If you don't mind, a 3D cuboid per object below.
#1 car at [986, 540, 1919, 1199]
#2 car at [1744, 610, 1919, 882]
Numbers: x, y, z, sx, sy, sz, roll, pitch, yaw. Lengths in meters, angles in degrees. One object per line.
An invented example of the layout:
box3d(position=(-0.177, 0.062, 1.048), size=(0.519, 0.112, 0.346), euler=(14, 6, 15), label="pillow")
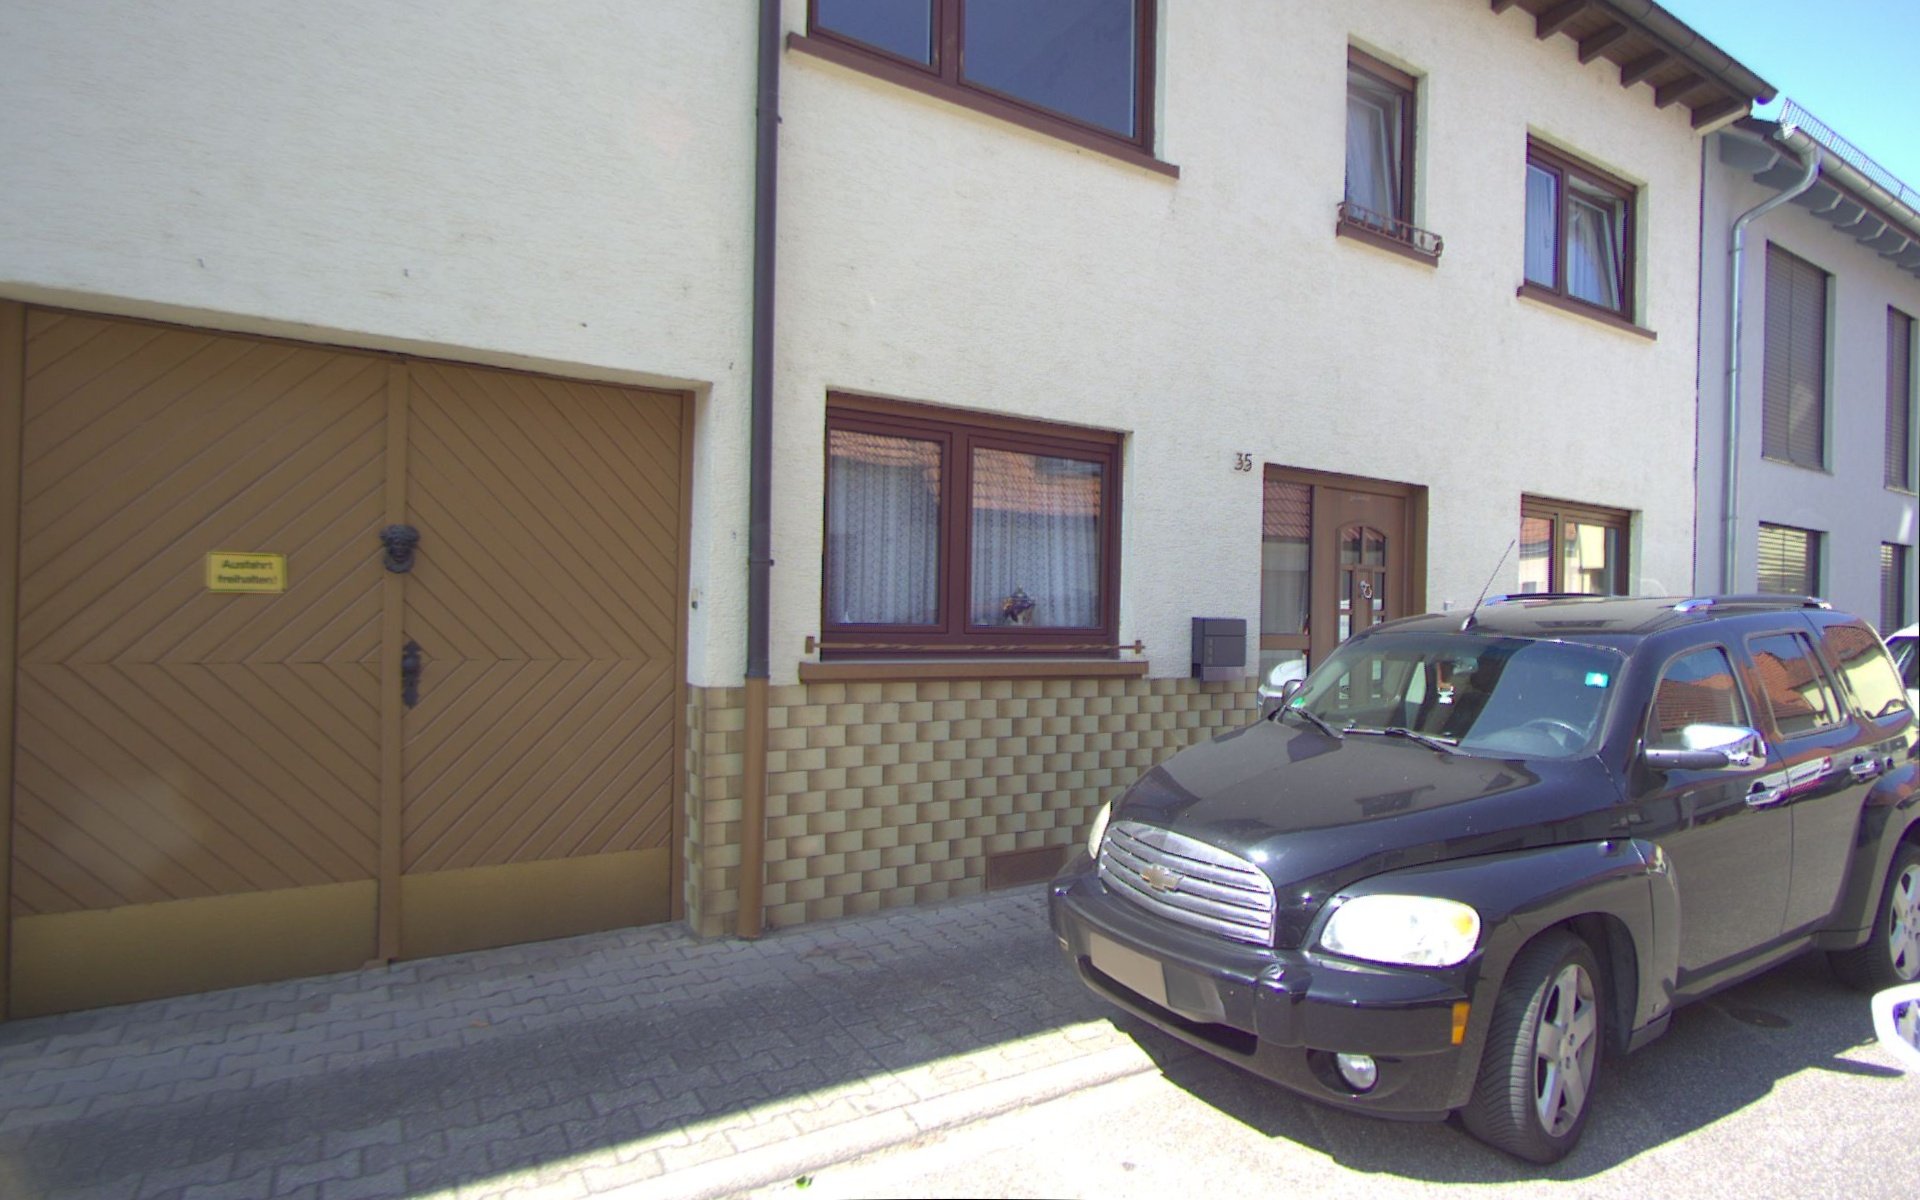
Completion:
box3d(position=(2.231, 0.762, 4.063), size=(3.943, 1.636, 1.714), euler=(2, -2, -30), label="car")
box3d(position=(7.561, 0.936, 7.263), size=(4.304, 1.636, 1.763), euler=(2, -2, -34), label="car")
